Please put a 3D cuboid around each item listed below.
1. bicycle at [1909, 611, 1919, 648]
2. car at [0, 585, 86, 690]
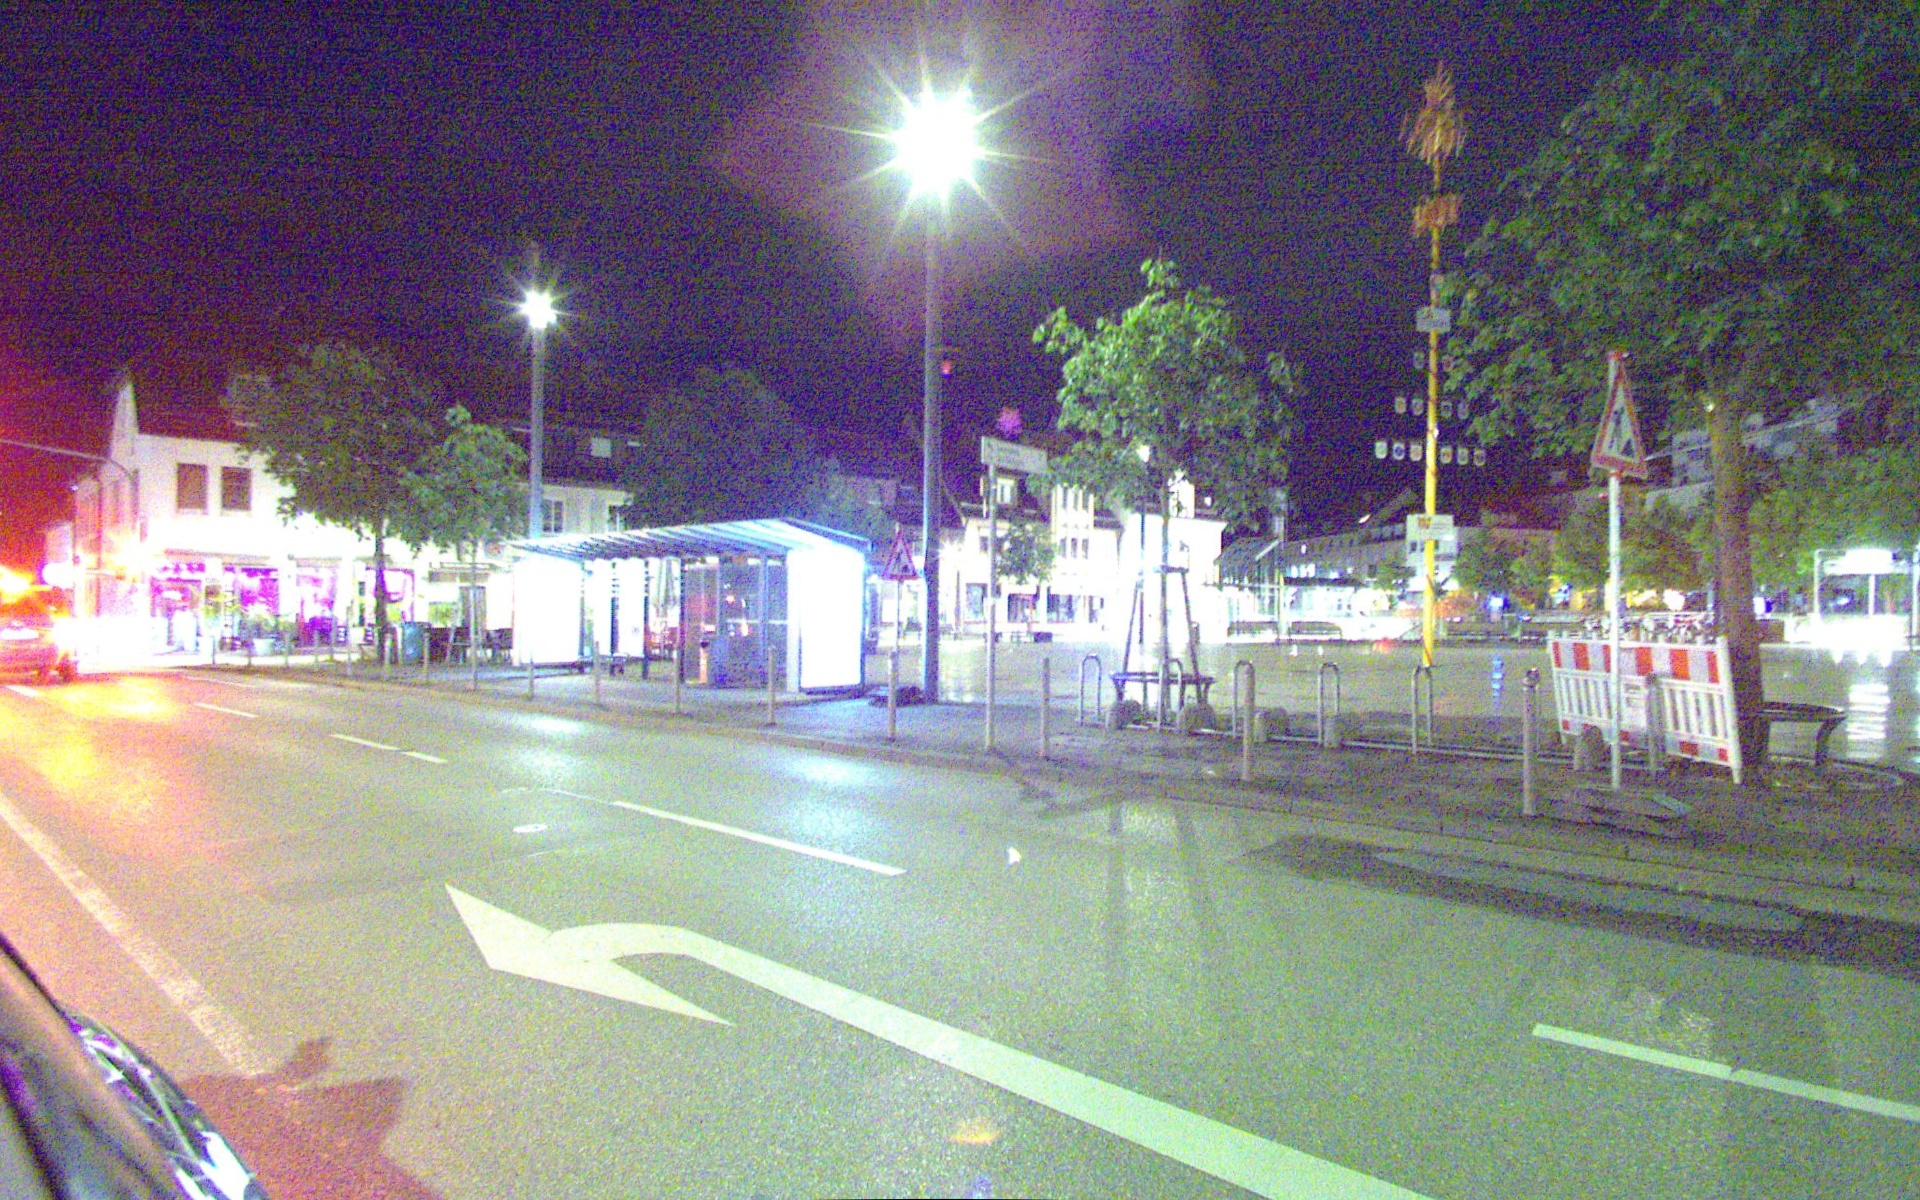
[{"bbox_3d":[26.399,0.788,26.980,1.525,0.965,0.476,-1,0,25],"label":"bicycle"},{"bbox_3d":[-19.040,0.701,19.974,4.908,1.886,1.947,-1,-1,40],"label":"car"}]
